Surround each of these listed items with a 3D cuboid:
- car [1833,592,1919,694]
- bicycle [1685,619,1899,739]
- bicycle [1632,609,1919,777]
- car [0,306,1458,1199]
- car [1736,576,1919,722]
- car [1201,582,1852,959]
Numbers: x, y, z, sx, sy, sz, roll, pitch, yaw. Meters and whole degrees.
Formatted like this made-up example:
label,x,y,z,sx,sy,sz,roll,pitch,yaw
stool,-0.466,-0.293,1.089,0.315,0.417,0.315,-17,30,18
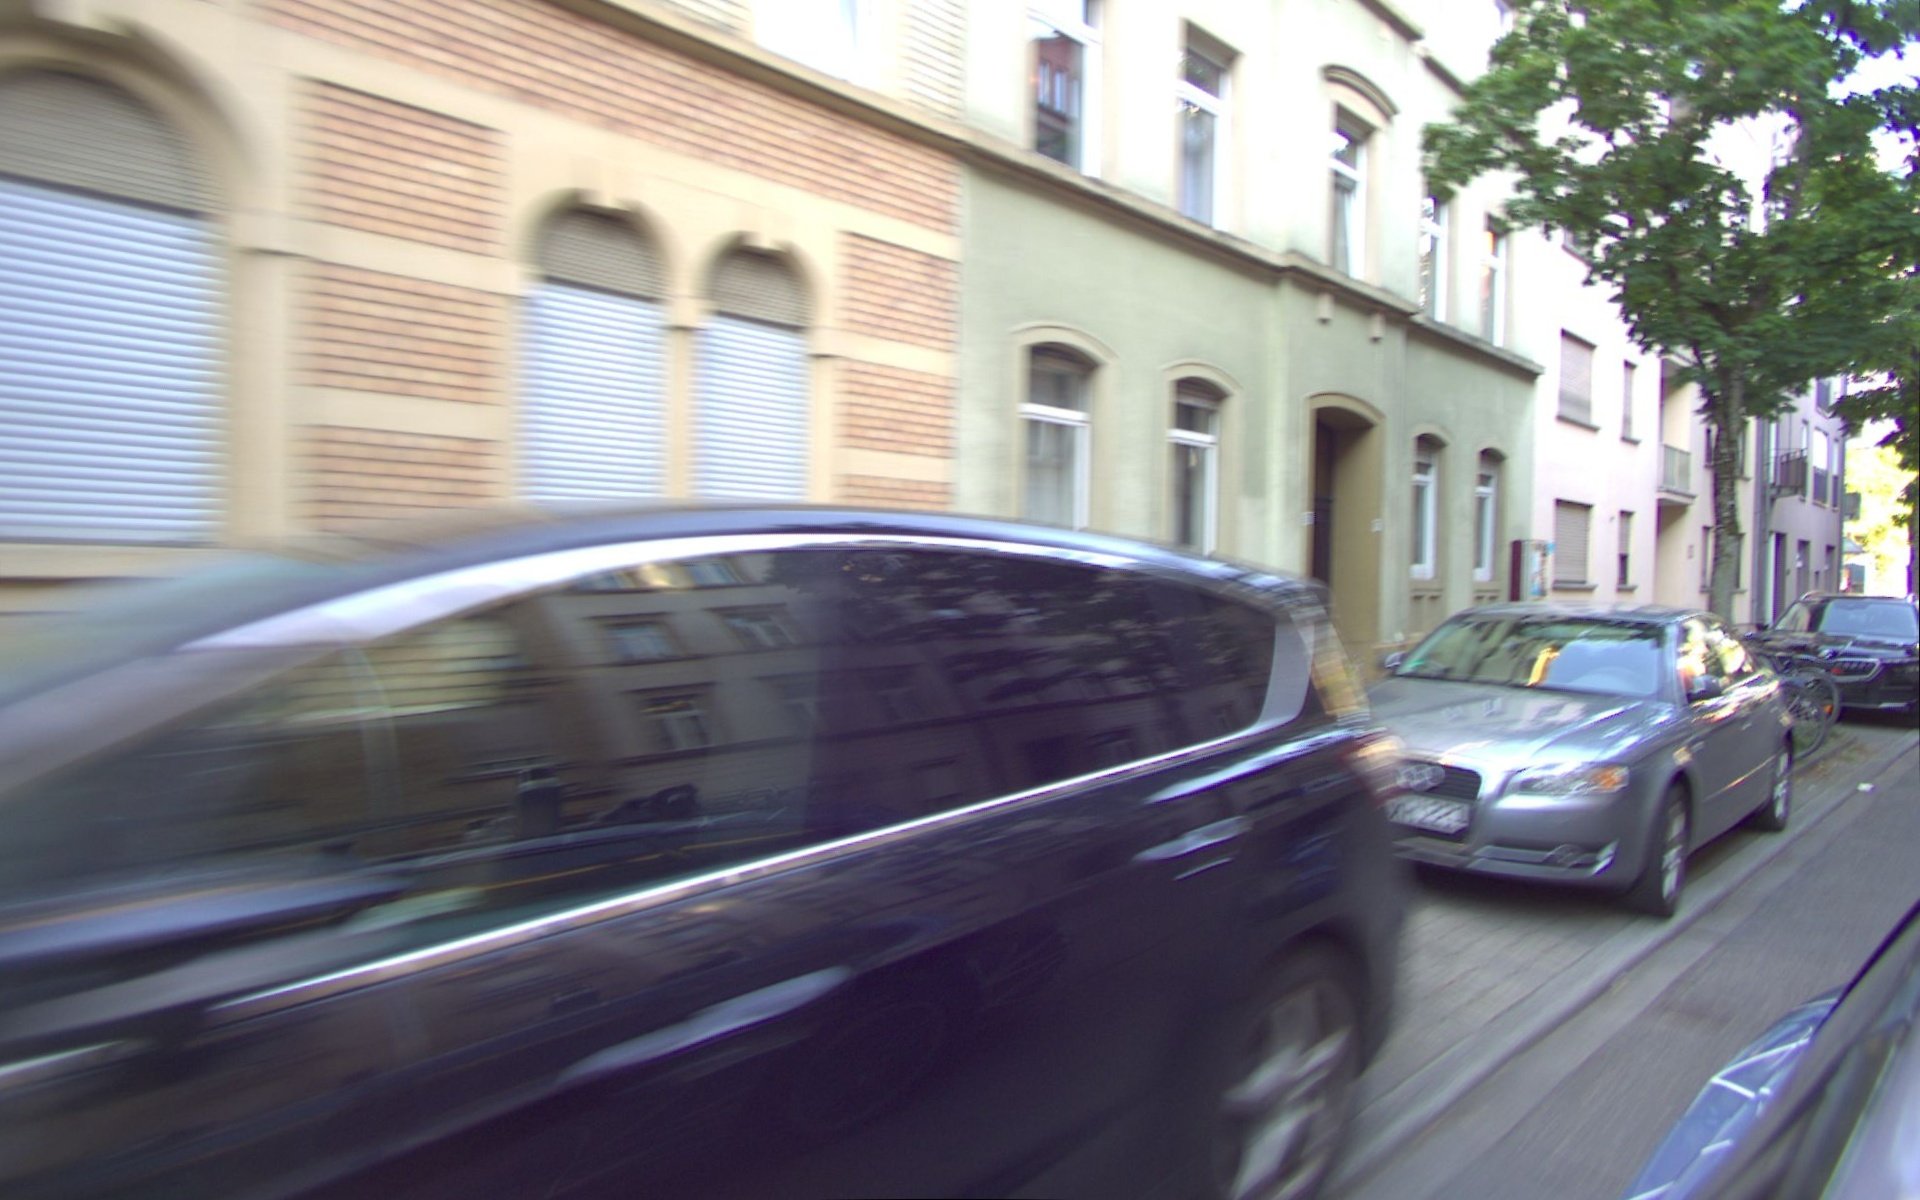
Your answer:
label,x,y,z,sx,sy,sz,roll,pitch,yaw
car,15.266,0.618,16.091,3.577,1.458,1.655,-1,1,-42
bicycle,8.602,0.773,10.574,0.628,1.033,1.762,0,3,-6
bicycle,6.823,0.736,8.580,1.739,1.238,0.636,2,3,23
car,-0.979,0.569,1.920,4.377,1.651,1.942,-1,1,-41
car,11.480,0.500,12.832,4.052,1.558,1.833,-1,2,-41
car,3.774,0.628,6.290,4.782,1.421,2.050,-1,2,-41
